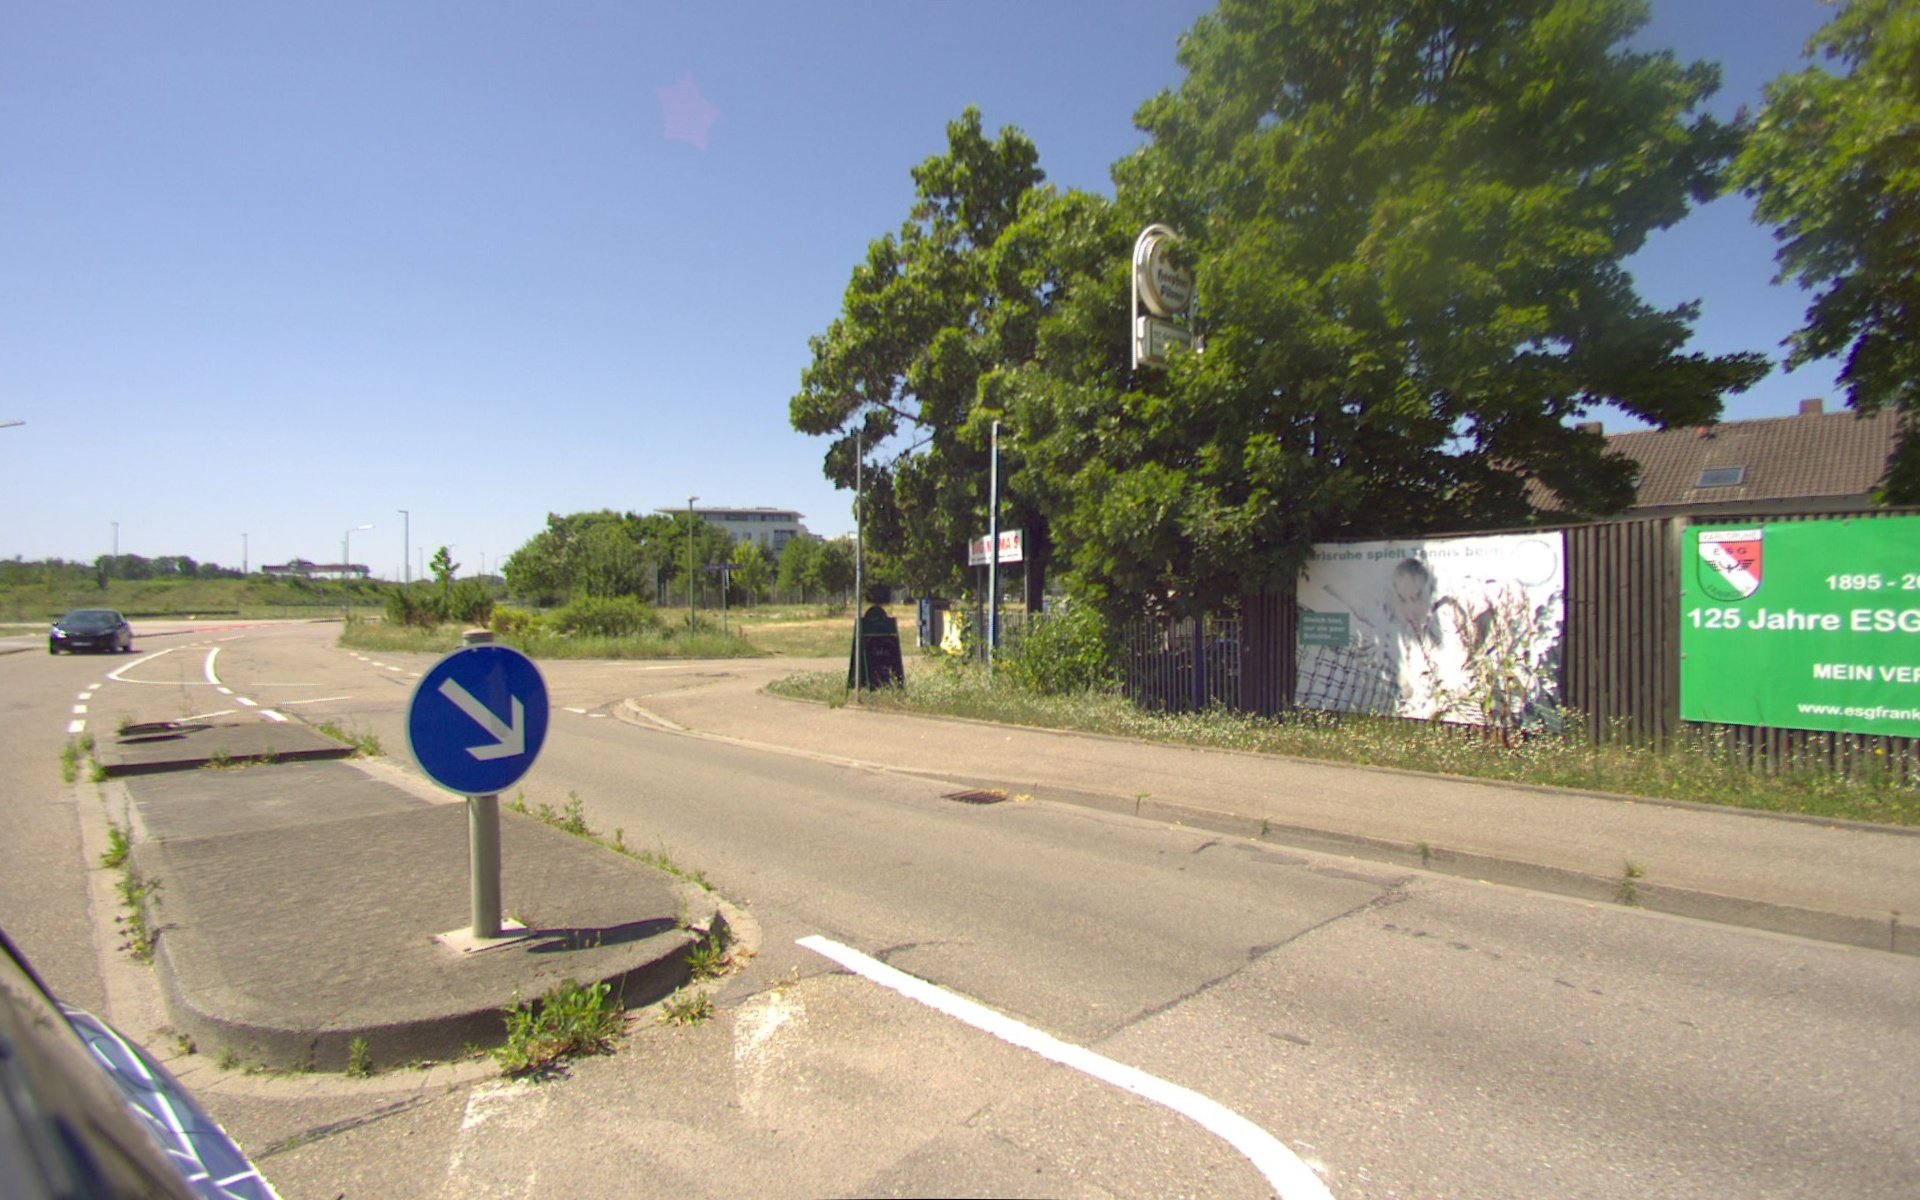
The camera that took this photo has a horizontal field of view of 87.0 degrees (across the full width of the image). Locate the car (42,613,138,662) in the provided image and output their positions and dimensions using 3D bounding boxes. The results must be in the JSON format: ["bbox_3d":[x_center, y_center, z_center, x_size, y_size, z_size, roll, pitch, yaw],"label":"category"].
[{"bbox_3d":[-28.245,1.166,32.981,1.627,1.478,4.172,0,0,-30],"label":"car"}]

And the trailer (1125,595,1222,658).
[{"bbox_3d":[7.472,0.880,35.223,3.374,2.061,1.762,0,0,-45],"label":"trailer"}]
